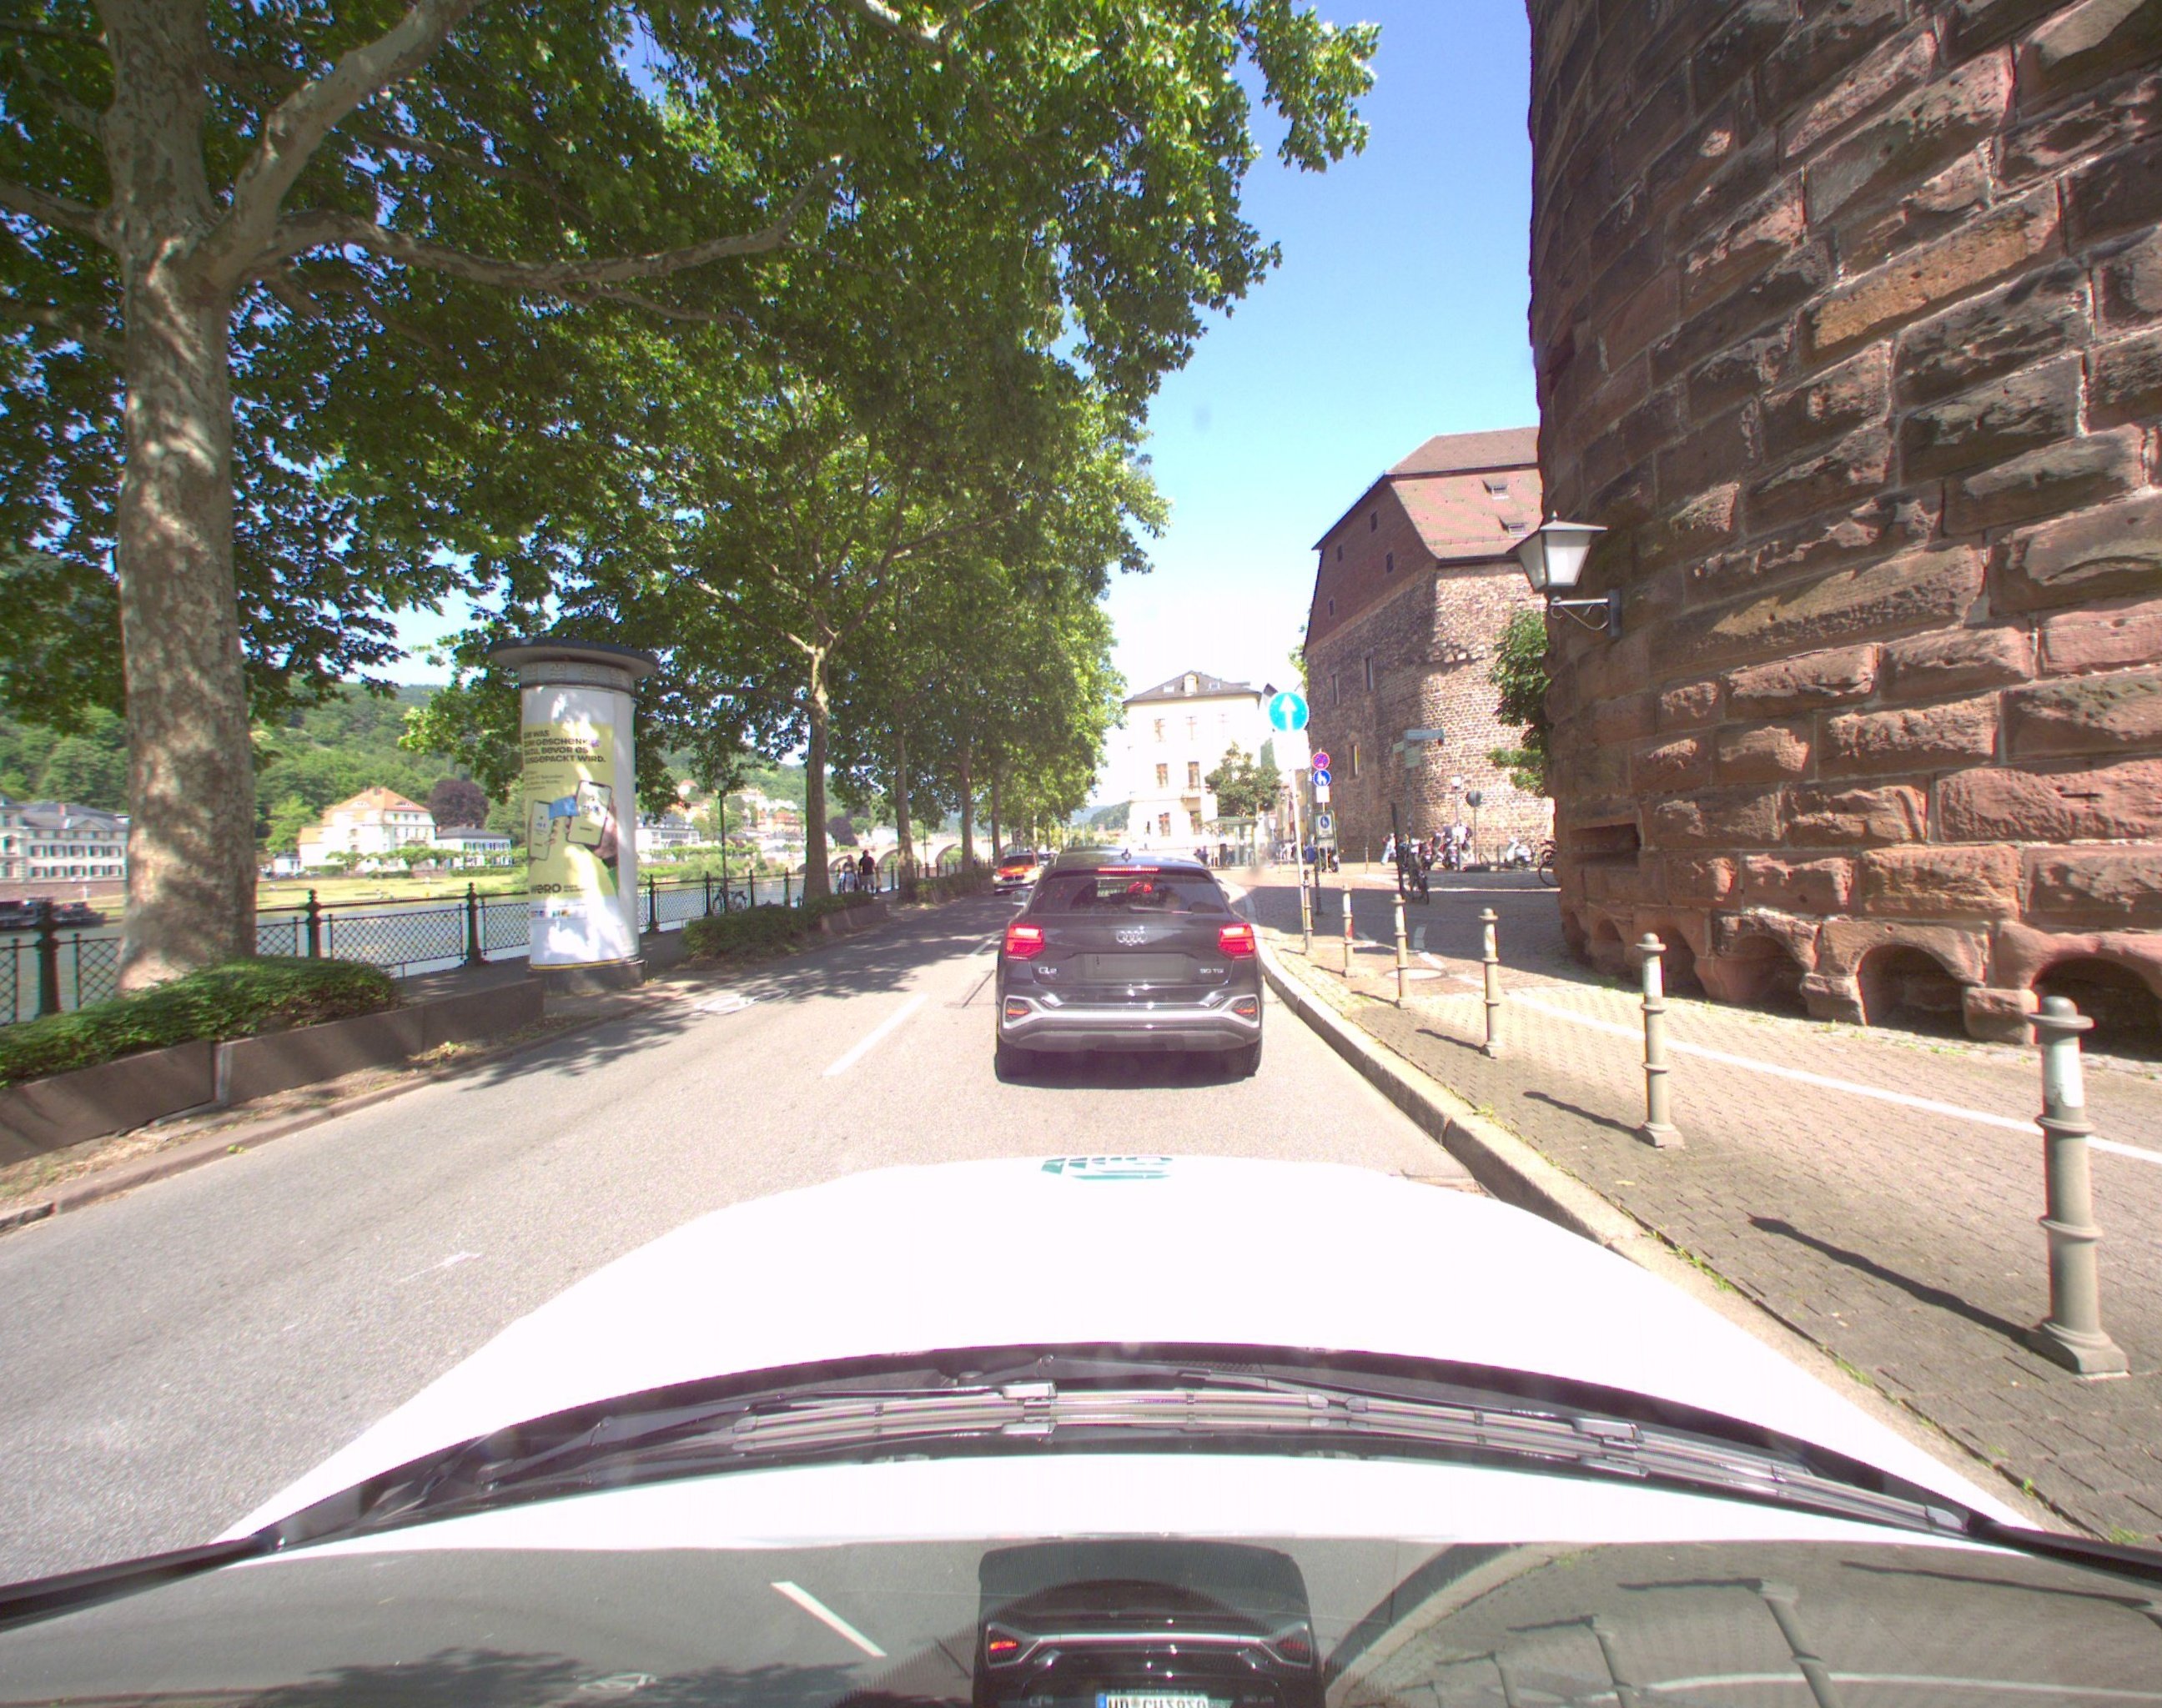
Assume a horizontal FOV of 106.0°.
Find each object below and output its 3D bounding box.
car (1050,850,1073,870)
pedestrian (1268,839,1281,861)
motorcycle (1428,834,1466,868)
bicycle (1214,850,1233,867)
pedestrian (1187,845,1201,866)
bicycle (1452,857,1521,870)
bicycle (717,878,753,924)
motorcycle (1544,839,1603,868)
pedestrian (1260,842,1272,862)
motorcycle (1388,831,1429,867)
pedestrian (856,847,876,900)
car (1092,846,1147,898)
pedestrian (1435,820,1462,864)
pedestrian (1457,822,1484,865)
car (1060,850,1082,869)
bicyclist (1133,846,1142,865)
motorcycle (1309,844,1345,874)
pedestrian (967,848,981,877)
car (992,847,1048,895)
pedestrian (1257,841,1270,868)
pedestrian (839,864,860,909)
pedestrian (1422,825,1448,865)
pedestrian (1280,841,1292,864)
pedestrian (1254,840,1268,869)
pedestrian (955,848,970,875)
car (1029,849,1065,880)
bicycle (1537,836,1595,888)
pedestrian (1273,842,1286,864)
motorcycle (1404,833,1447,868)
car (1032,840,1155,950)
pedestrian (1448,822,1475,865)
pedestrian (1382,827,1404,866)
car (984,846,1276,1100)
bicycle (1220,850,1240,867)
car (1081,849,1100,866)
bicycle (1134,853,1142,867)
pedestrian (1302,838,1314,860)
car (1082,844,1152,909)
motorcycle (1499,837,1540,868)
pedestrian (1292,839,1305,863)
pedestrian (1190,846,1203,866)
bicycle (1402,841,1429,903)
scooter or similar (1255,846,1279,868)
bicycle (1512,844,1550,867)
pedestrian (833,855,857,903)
[{"bbox_3d":[-1.704,0.535,73.296,1.732,1.572,4.093,-6,0,2],"label":"car"},{"bbox_3d":[14.858,-0.329,62.508,0.773,1.621,0.646,-3,0,4],"label":"pedestrian"},{"bbox_3d":[13.657,-0.105,30.441,0.544,1.235,2.031,0,-1,2],"label":"motorcycle"},{"bbox_3d":[8.687,0.260,49.509,1.187,1.016,0.178,0,-1,-17],"label":"bicycle"},{"bbox_3d":[6.771,0.104,48.815,0.662,1.231,0.640,0,-1,-5],"label":"pedestrian"},{"bbox_3d":[13.599,0.305,27.369,1.914,0.381,0.921,-2,-1,16],"label":"bicycle"},{"bbox_3d":[-8.890,1.183,20.953,0.358,1.091,1.296,1,0,1],"label":"bicycle"},{"bbox_3d":[18.531,-0.016,30.679,1.854,1.054,0.481,-1,-1,9],"label":"motorcycle"},{"bbox_3d":[14.538,-0.154,64.012,0.772,1.564,0.647,-3,0,7],"label":"pedestrian"},{"bbox_3d":[11.992,-0.174,29.874,0.653,1.266,2.201,-2,-1,2],"label":"motorcycle"},{"bbox_3d":[-7.760,0.684,29.453,0.532,1.887,0.437,-2,0,1],"label":"pedestrian"},{"bbox_3d":[1.312,0.572,28.630,1.788,1.682,4.002,-1,0,2],"label":"car"},{"bbox_3d":[17.258,-0.541,38.230,0.734,2.014,0.870,0,-1,-26],"label":"pedestrian"},{"bbox_3d":[17.576,-0.482,36.756,0.673,1.920,0.813,0,-1,-32],"label":"pedestrian"},{"bbox_3d":[-1.001,0.542,84.032,1.806,1.725,4.423,-8,0,2],"label":"car"},{"bbox_3d":[4.346,0.128,62.524,0.604,1.450,0.590,0,-1,-3],"label":"bicyclist"},{"bbox_3d":[9.056,0.176,30.046,0.564,1.012,2.490,-2,0,1],"label":"motorcycle"},{"bbox_3d":[-7.562,0.585,57.601,0.906,2.014,0.587,-1,-1,6],"label":"pedestrian"},{"bbox_3d":[-2.373,0.620,32.392,1.667,1.660,4.224,-5,0,1],"label":"car"},{"bbox_3d":[9.539,0.015,42.578,0.555,1.385,0.588,-1,-1,4],"label":"pedestrian"},{"bbox_3d":[-7.240,1.007,25.497,0.476,1.362,0.418,-2,0,5],"label":"pedestrian"},{"bbox_3d":[16.403,-0.406,37.747,0.654,1.802,0.841,-1,0,-21],"label":"pedestrian"},{"bbox_3d":[17.616,-0.126,70.043,0.836,2.014,0.738,0,-1,2],"label":"pedestrian"},{"bbox_3d":[11.935,0.029,54.008,0.744,1.890,0.753,-1,-1,4],"label":"pedestrian"},{"bbox_3d":[-8.033,0.515,55.265,0.906,1.811,0.587,-1,-1,6],"label":"pedestrian"},{"bbox_3d":[-2.018,0.601,49.242,1.762,1.660,4.001,-4,0,1],"label":"car"},{"bbox_3d":[11.561,0.179,19.459,0.444,1.162,1.733,-2,0,5],"label":"bicycle"},{"bbox_3d":[17.990,-0.106,73.884,0.941,2.014,0.808,0,-1,2],"label":"pedestrian"},{"bbox_3d":[12.809,-0.120,30.358,0.672,1.235,2.313,0,-1,2],"label":"motorcycle"},{"bbox_3d":[0.233,0.596,13.638,1.786,1.595,3.400,0,0,2],"label":"car"},{"bbox_3d":[16.994,-0.456,36.370,0.672,1.884,0.813,0,-1,-30],"label":"pedestrian"},{"bbox_3d":[13.708,-0.327,35.796,0.799,1.662,0.660,-3,0,26],"label":"pedestrian"},{"bbox_3d":[0.349,0.699,6.682,1.736,1.509,3.649,0,0,2],"label":"car"},{"bbox_3d":[8.946,0.259,48.885,1.205,1.035,0.178,0,-1,-17],"label":"bicycle"},{"bbox_3d":[1.082,0.363,90.675,1.985,1.806,4.003,0,-1,3],"label":"car"},{"bbox_3d":[4.343,0.466,62.564,0.436,1.086,1.675,0,-1,-2],"label":"bicycle"},{"bbox_3d":[17.758,-0.389,63.688,0.684,1.612,0.897,-3,0,28],"label":"pedestrian"},{"bbox_3d":[0.954,0.558,22.239,1.704,1.609,3.656,-1,0,2],"label":"car"},{"bbox_3d":[15.552,-0.038,28.924,0.505,1.073,1.841,0,-1,2],"label":"motorcycle"},{"bbox_3d":[18.674,-0.236,70.037,0.936,2.014,0.808,0,-1,2],"label":"pedestrian"},{"bbox_3d":[6.825,0.122,48.107,0.662,1.211,0.640,0,-1,-5],"label":"pedestrian"},{"bbox_3d":[6.849,0.333,16.727,0.192,1.203,1.775,-2,1,13],"label":"bicycle"},{"bbox_3d":[8.979,0.161,39.319,1.085,1.066,0.323,0,-1,-1],"label":"scooter or similar"},{"bbox_3d":[16.627,0.059,30.136,0.352,0.820,1.926,0,1,1],"label":"bicycle"},{"bbox_3d":[-8.364,0.877,28.877,0.599,1.685,0.583,-2,0,0],"label":"pedestrian"}]
